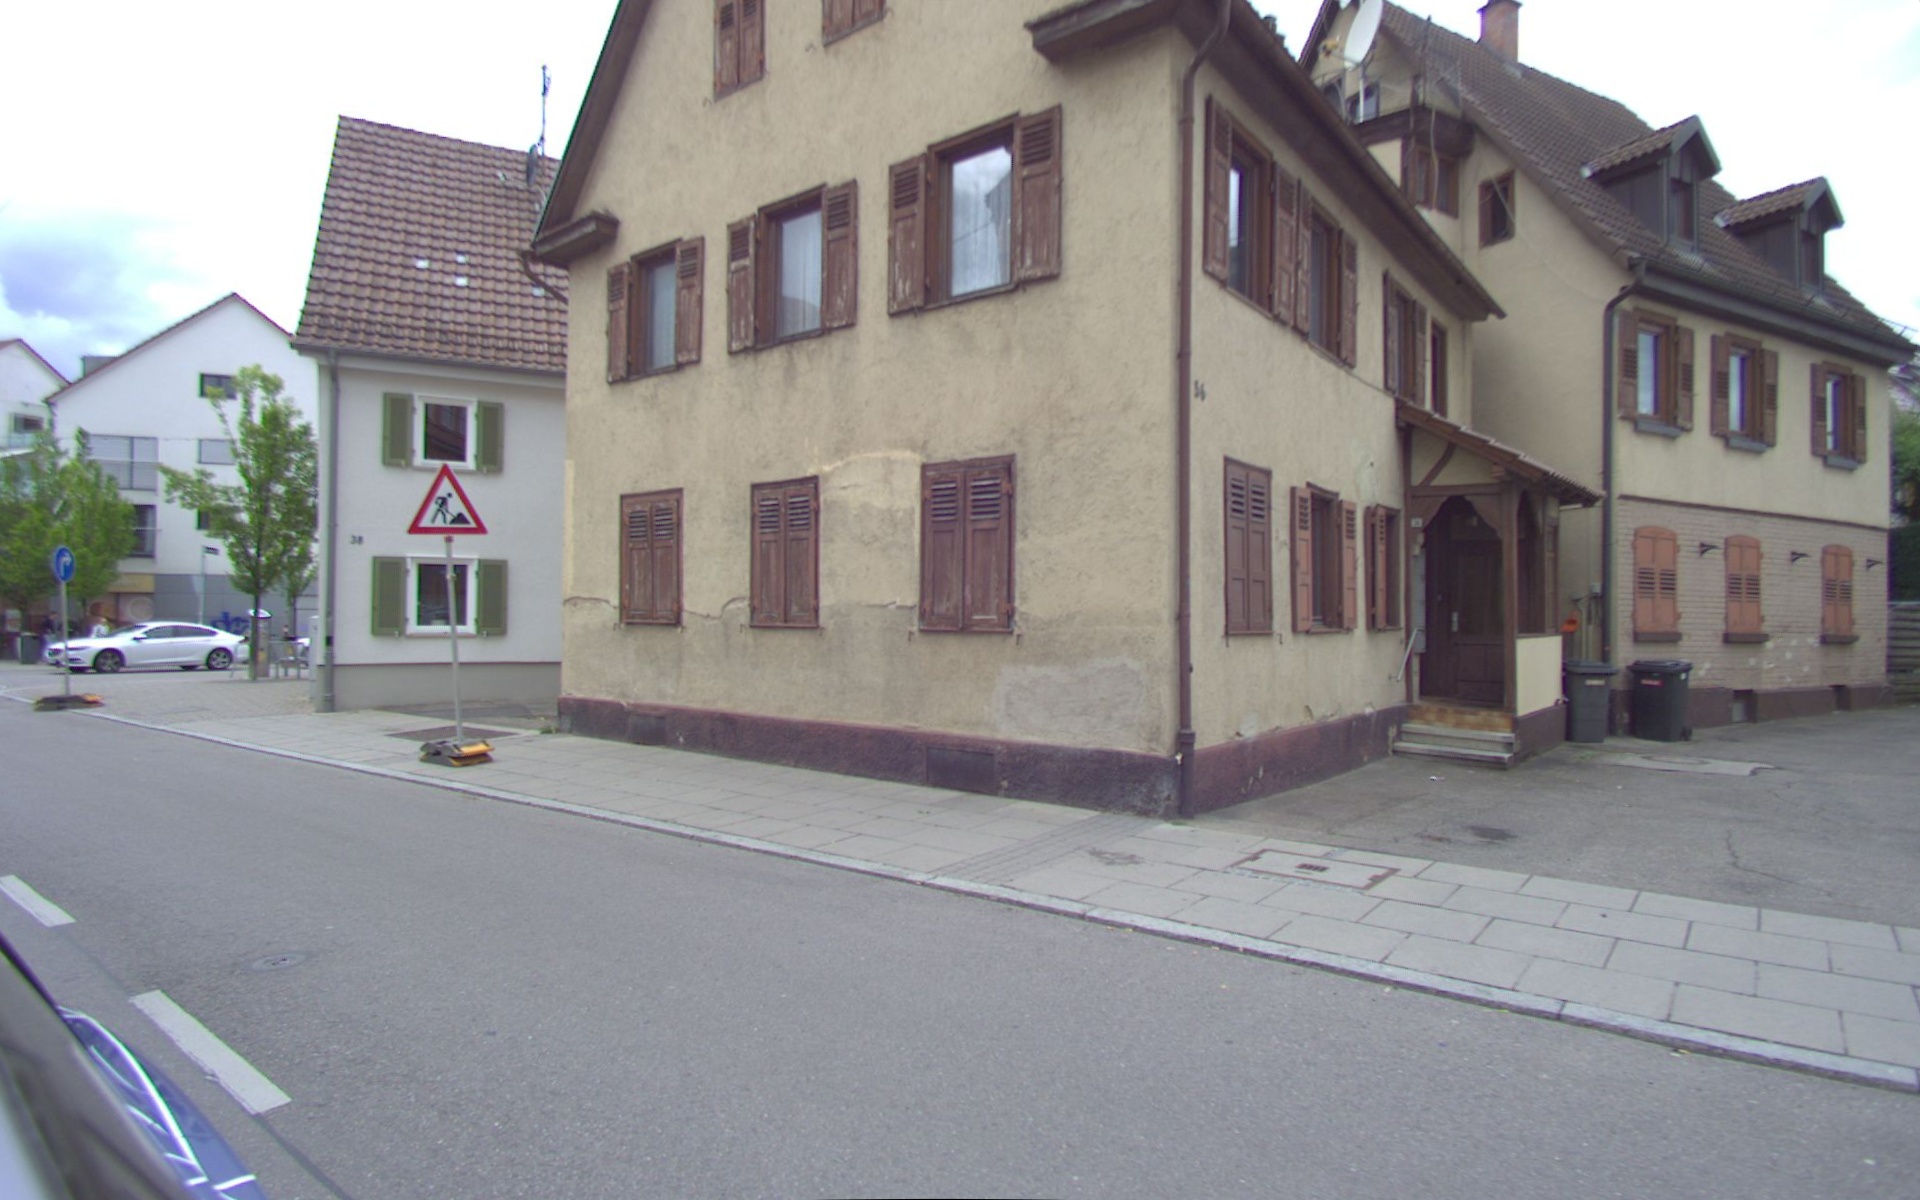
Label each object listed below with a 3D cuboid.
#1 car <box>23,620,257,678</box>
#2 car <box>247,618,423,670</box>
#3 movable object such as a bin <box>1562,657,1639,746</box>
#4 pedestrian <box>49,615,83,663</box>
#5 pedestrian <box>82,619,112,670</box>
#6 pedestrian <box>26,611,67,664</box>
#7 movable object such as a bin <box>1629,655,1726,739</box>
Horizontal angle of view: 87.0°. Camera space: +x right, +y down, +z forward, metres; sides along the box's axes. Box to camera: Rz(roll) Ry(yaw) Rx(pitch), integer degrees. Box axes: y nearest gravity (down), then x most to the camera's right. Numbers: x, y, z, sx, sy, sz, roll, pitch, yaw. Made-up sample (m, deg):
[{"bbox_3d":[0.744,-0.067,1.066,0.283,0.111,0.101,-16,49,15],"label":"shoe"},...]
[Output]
[{"bbox_3d":[-23.867,1.362,29.712,2.236,1.488,4.879,-1,-1,24],"label":"car"},{"bbox_3d":[-20.710,1.427,33.795,4.833,1.569,2.028,0,-1,-26],"label":"car"},{"bbox_3d":[8.127,1.277,12.849,0.626,1.075,0.536,1,-2,-19],"label":"movable object such as a bin"},{"bbox_3d":[-34.296,1.490,38.832,0.707,1.804,0.694,0,-2,-5],"label":"pedestrian"},{"bbox_3d":[-28.072,1.442,32.918,0.673,1.604,0.880,2,-3,-43],"label":"pedestrian"},{"bbox_3d":[-34.297,1.403,37.993,0.773,1.940,0.817,0,-2,-1],"label":"pedestrian"},{"bbox_3d":[9.441,1.258,13.326,0.953,1.034,0.642,1,-2,-25],"label":"movable object such as a bin"}]
